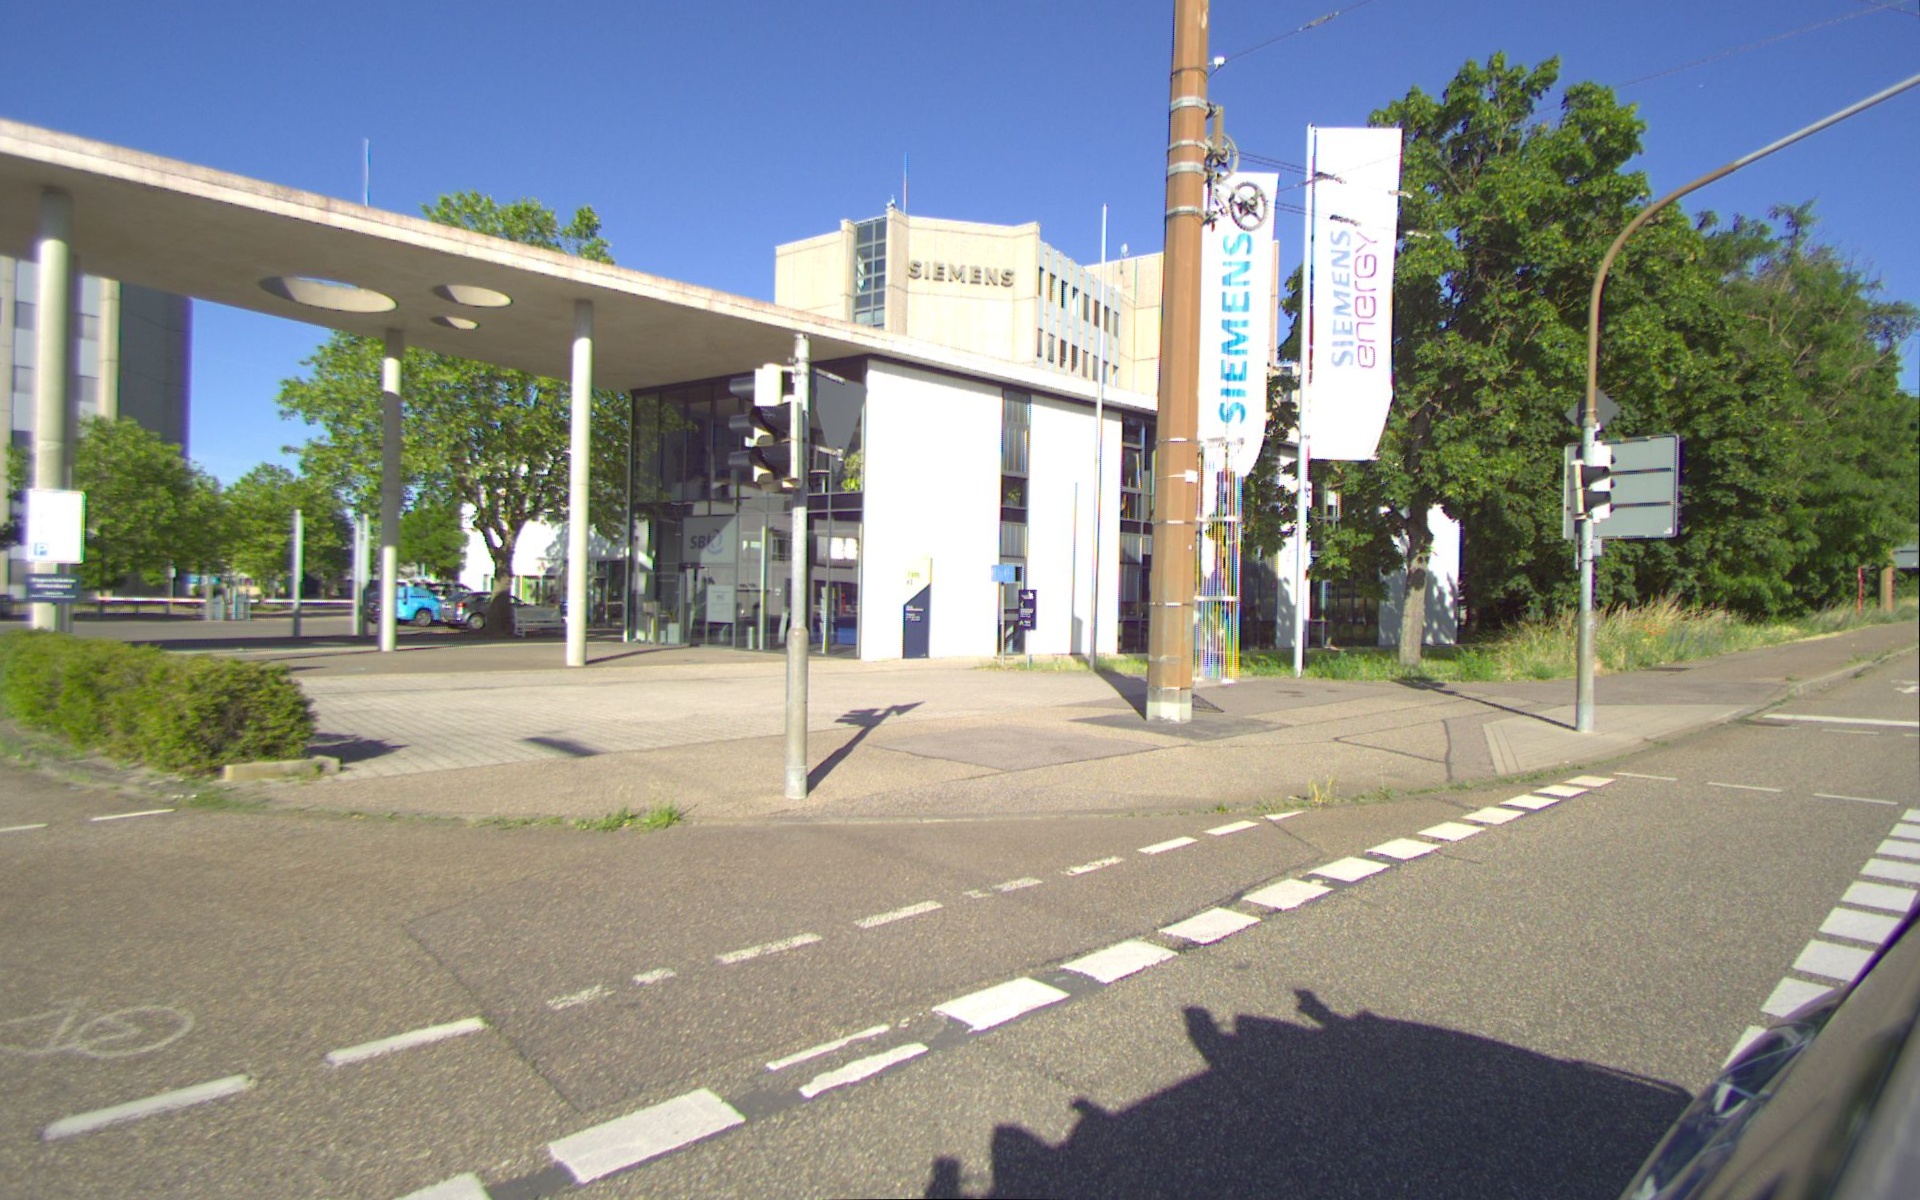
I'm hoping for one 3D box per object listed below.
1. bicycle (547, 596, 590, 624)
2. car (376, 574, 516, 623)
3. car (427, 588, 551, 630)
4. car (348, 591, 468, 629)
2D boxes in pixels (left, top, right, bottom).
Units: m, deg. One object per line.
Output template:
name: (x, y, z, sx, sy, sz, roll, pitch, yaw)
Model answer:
bicycle: (-17.027, 0.416, 44.060, 0.607, 1.150, 1.712, 0, 1, 33)
car: (-20.021, -0.082, 39.609, 1.766, 1.819, 4.669, 1, 1, 33)
car: (-17.716, 0.296, 38.244, 1.766, 1.462, 3.953, 1, 1, 33)
car: (-22.372, 0.366, 41.131, 1.766, 1.462, 3.953, 1, 1, 33)
